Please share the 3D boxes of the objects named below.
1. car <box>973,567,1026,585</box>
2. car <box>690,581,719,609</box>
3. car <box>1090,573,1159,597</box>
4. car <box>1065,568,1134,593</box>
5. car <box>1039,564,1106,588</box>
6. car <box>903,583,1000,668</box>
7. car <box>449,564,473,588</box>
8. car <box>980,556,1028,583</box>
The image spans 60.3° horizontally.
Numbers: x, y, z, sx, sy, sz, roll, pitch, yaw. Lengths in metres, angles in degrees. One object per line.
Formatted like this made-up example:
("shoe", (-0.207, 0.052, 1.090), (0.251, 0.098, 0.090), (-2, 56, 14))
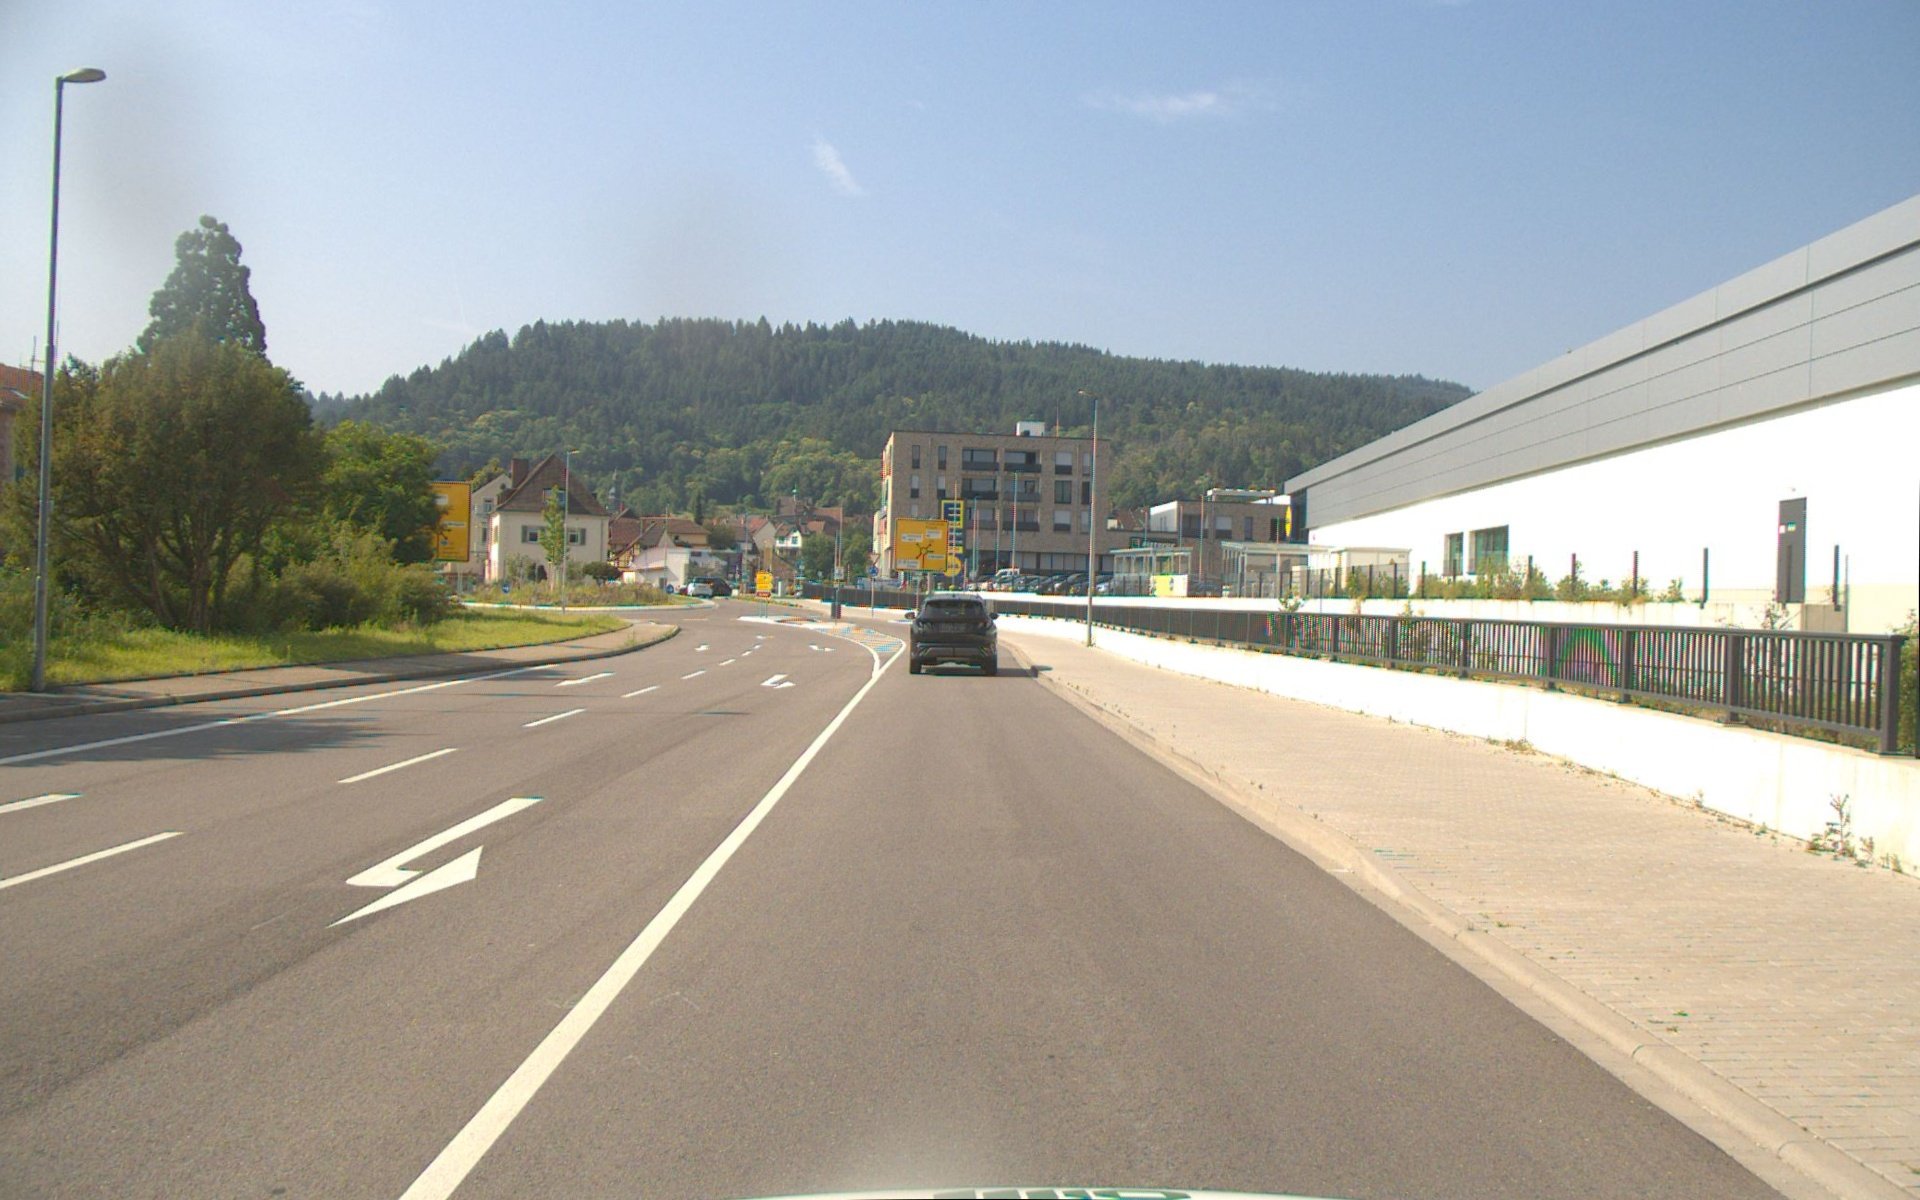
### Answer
("car", (2.856, -1.753, 120.363), (3.502, 1.220, 1.705), (1, 1, -19))
("car", (-19.271, -0.399, 124.924), (1.955, 2.049, 3.994), (0, 0, -7))
("car", (9.921, -0.901, 99.703), (3.749, 1.388, 1.671), (1, 1, -20))
("car", (8.641, -1.212, 102.677), (4.001, 1.428, 1.478), (1, 1, -20))
("car", (7.241, -1.529, 106.257), (3.945, 1.428, 1.715), (1, 1, -20))
("car", (-0.243, 0.515, 35.469), (1.844, 1.713, 3.997), (0, 0, -4))
("car", (-45.130, -2.173, 149.616), (1.784, 2.048, 3.975), (0, 1, -21))
("car", (3.616, -2.532, 136.144), (3.904, 2.173, 2.001), (0, 0, 2))
